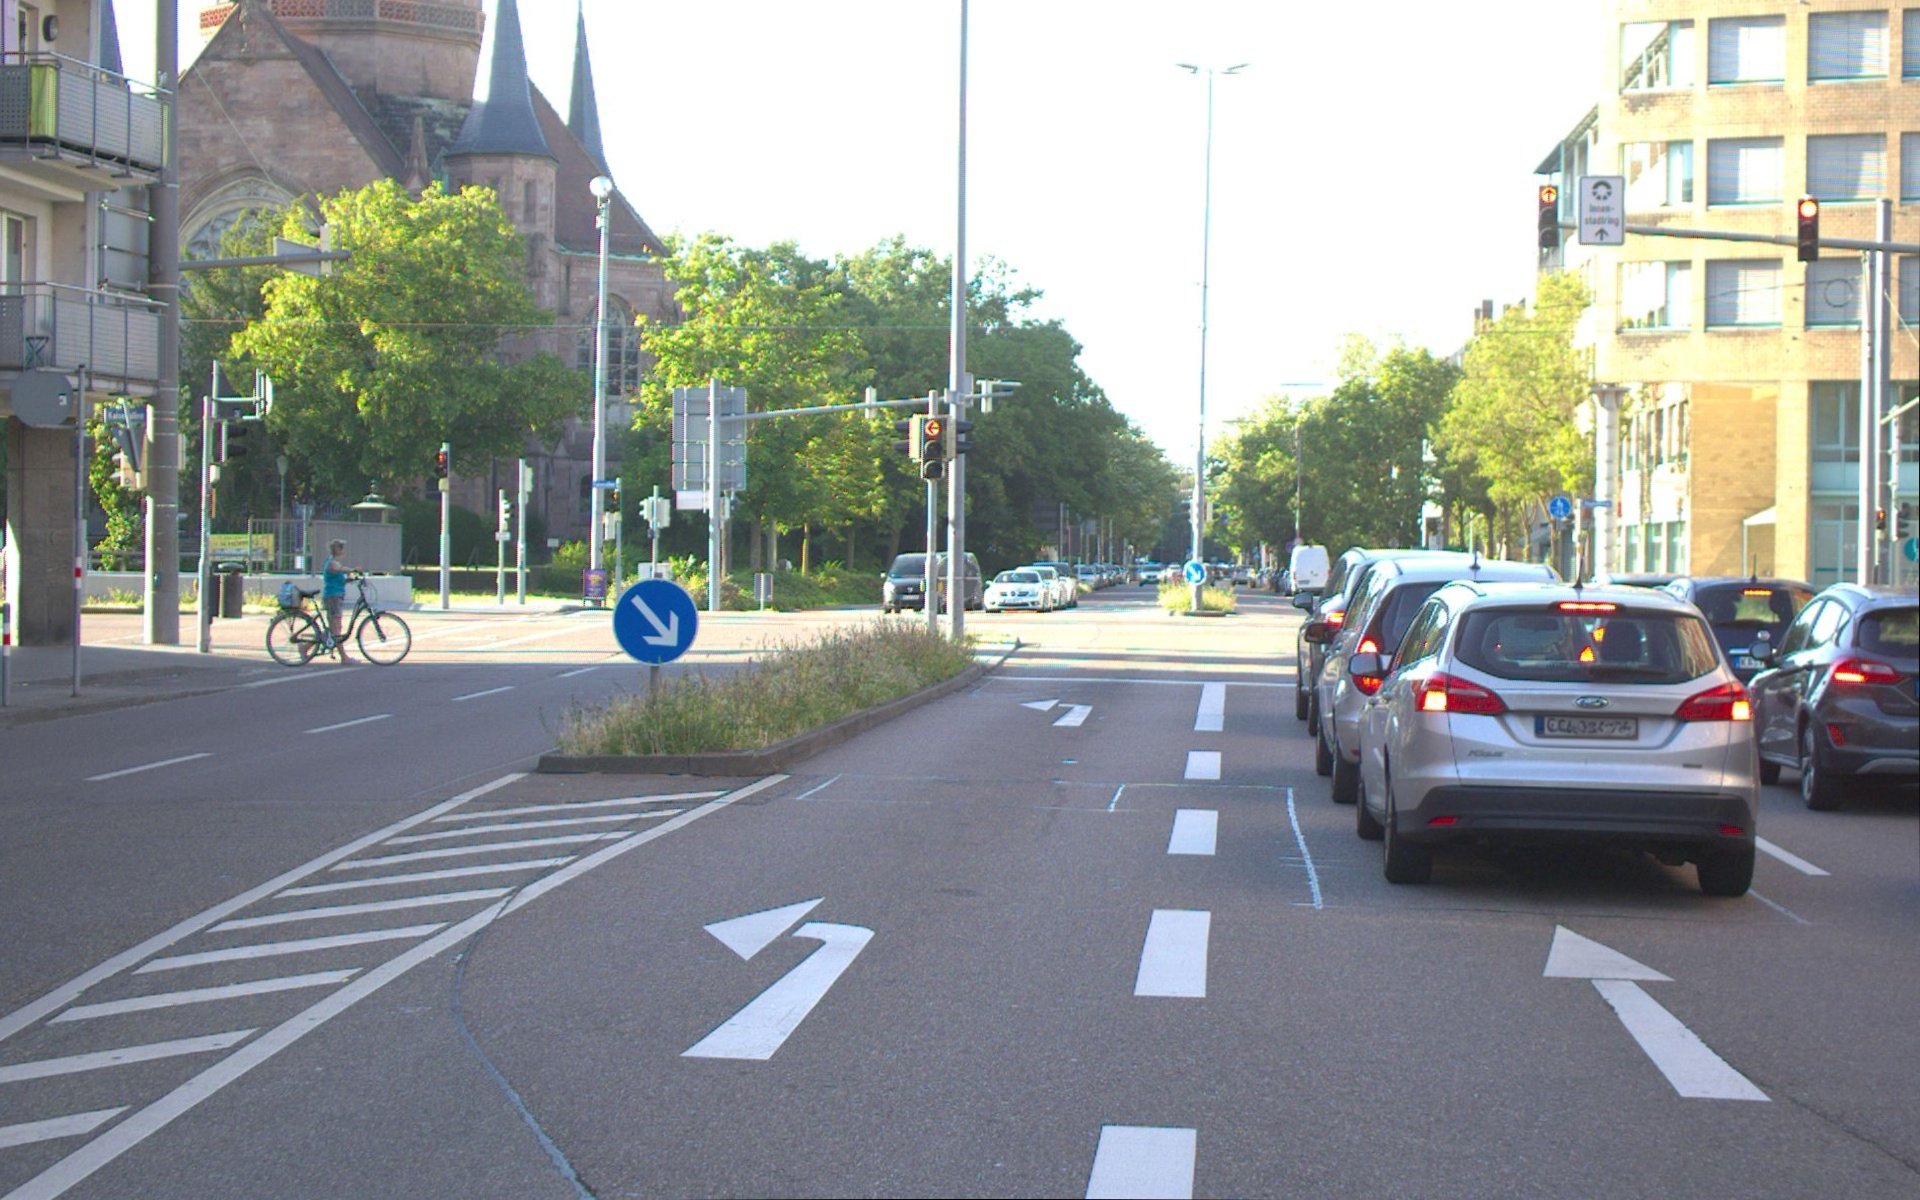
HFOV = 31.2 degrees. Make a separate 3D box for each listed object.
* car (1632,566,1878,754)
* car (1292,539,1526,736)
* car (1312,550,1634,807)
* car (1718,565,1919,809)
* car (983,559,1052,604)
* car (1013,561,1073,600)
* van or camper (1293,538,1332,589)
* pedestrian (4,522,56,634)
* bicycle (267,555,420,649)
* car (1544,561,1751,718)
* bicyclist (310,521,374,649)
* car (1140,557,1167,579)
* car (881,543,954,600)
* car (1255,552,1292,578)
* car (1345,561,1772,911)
[{"bbox_3d":[6.863,0.473,29.959,1.489,1.500,3.479,1,1,3],"label":"car"},{"bbox_3d":[4.011,0.278,31.332,1.784,1.627,4.478,1,1,3],"label":"car"},{"bbox_3d":[3.384,0.463,23.274,1.804,1.563,3.618,1,1,3],"label":"car"},{"bbox_3d":[6.415,0.543,23.759,1.651,1.479,4.239,2,1,4],"label":"car"},{"bbox_3d":[1.722,-0.564,102.368,1.780,1.232,3.999,1,1,5],"label":"car"},{"bbox_3d":[2.827,-0.685,116.160,1.780,1.232,3.999,1,1,5],"label":"car"},{"bbox_3d":[18.531,-1.931,180.716,1.994,2.631,5.349,1,1,6],"label":"van or camper"},{"bbox_3d":[-13.769,-0.332,50.911,0.468,1.636,0.576,1,1,24],"label":"pedestrian"},{"bbox_3d":[-8.005,0.021,44.654,1.827,1.184,0.734,1,1,3],"label":"bicycle"},{"bbox_3d":[6.996,0.365,35.280,1.585,1.442,3.647,2,1,4],"label":"car"},{"bbox_3d":[-8.043,-0.201,44.767,0.782,1.654,0.901,1,1,-8],"label":"bicyclist"},{"bbox_3d":[13.628,-2.253,241.881,1.780,1.444,3.999,1,1,5],"label":"car"},{"bbox_3d":[-1.254,-0.871,103.162,1.780,1.641,3.999,1,1,5],"label":"car"},{"bbox_3d":[19.293,-2.170,211.858,1.993,1.587,4.000,1,1,1],"label":"car"},{"bbox_3d":[2.954,0.590,17.767,1.708,1.504,4.308,2,1,4],"label":"car"}]
